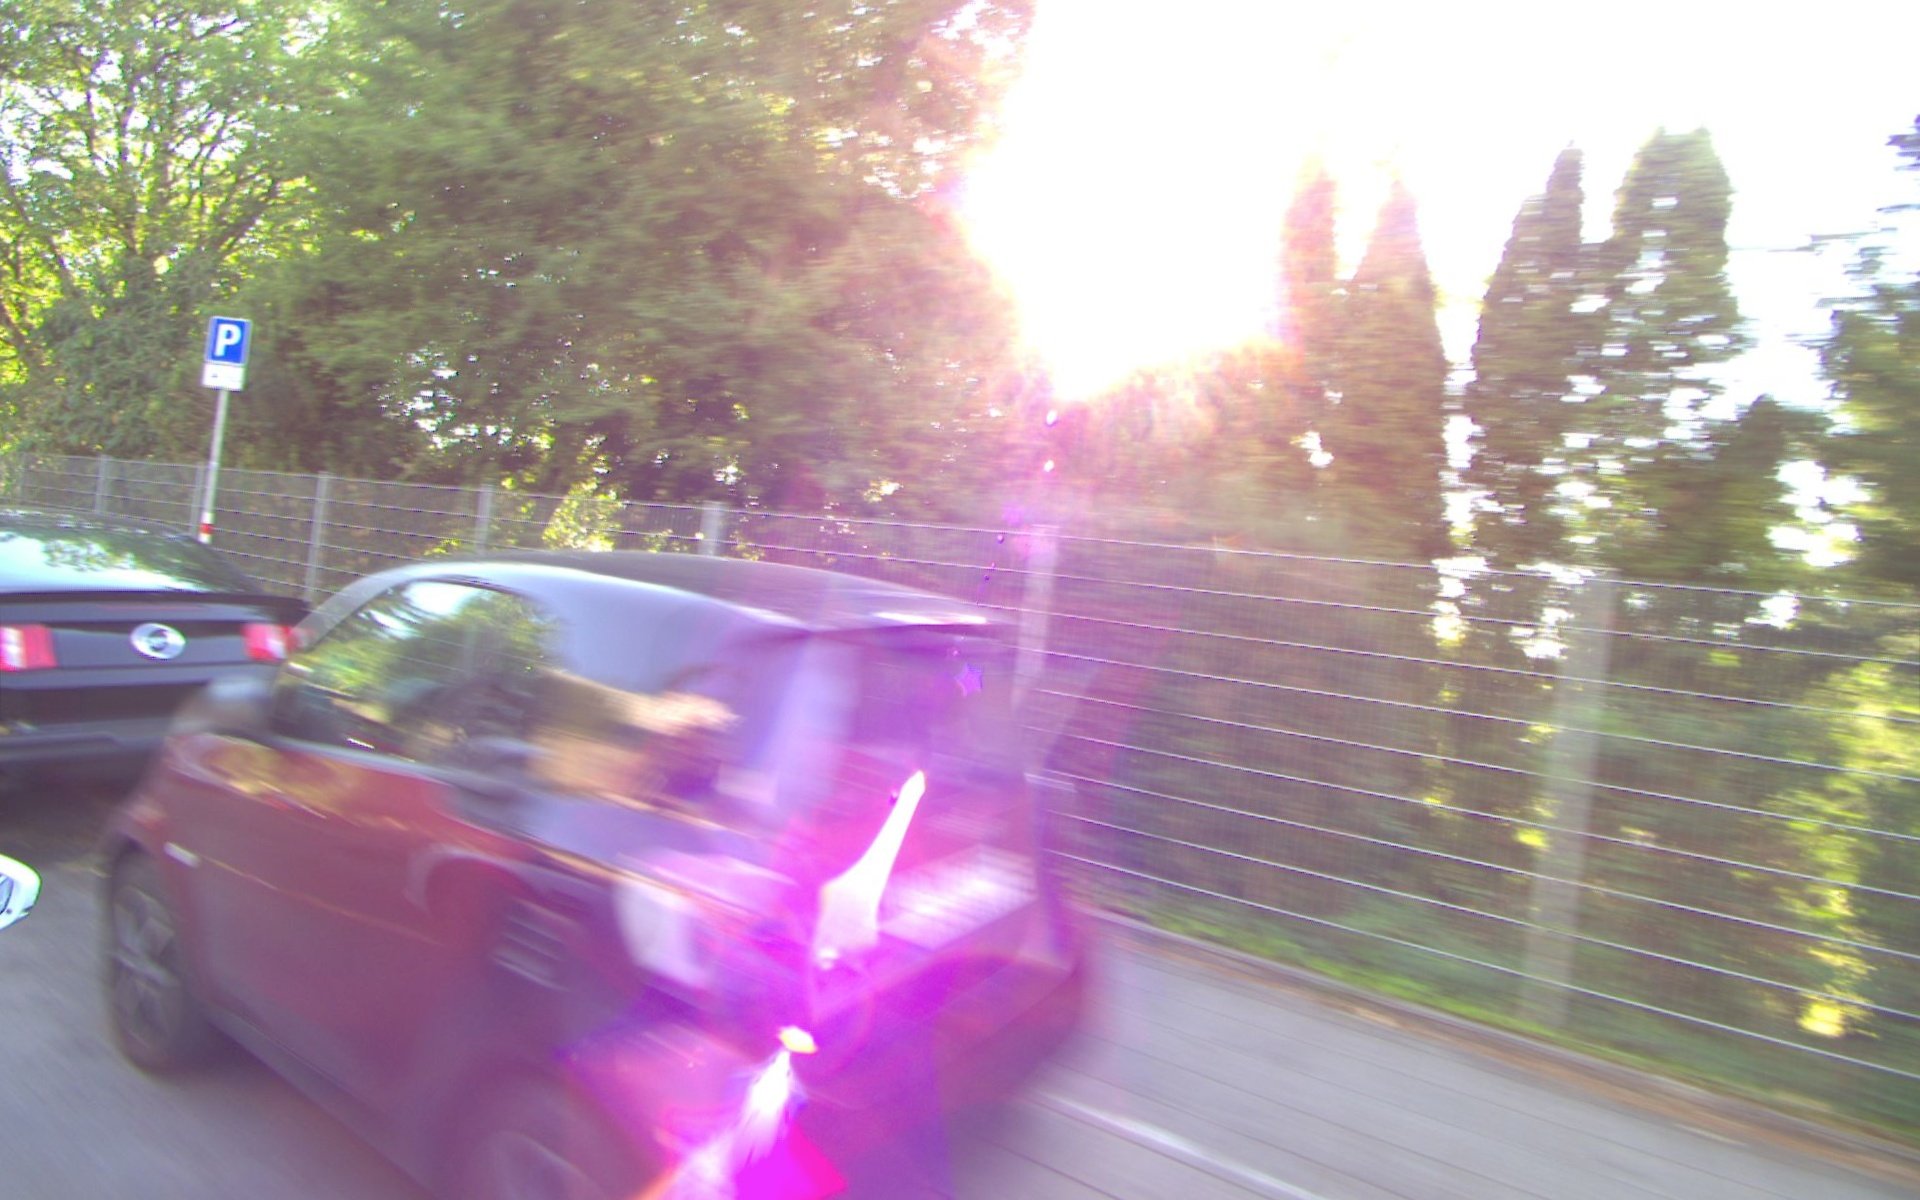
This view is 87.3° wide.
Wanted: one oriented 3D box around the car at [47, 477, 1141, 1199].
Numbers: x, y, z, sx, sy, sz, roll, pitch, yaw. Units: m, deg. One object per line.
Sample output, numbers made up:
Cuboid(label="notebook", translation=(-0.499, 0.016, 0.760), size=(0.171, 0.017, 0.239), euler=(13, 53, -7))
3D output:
Cuboid(label="car", translation=(-1.163, 0.557, 2.997), size=(2.826, 1.586, 1.652), euler=(6, 3, 33))

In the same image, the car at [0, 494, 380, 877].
Cuboid(label="car", translation=(-5.484, 0.182, 5.706), size=(4.736, 1.514, 1.714), euler=(7, -3, 33))
